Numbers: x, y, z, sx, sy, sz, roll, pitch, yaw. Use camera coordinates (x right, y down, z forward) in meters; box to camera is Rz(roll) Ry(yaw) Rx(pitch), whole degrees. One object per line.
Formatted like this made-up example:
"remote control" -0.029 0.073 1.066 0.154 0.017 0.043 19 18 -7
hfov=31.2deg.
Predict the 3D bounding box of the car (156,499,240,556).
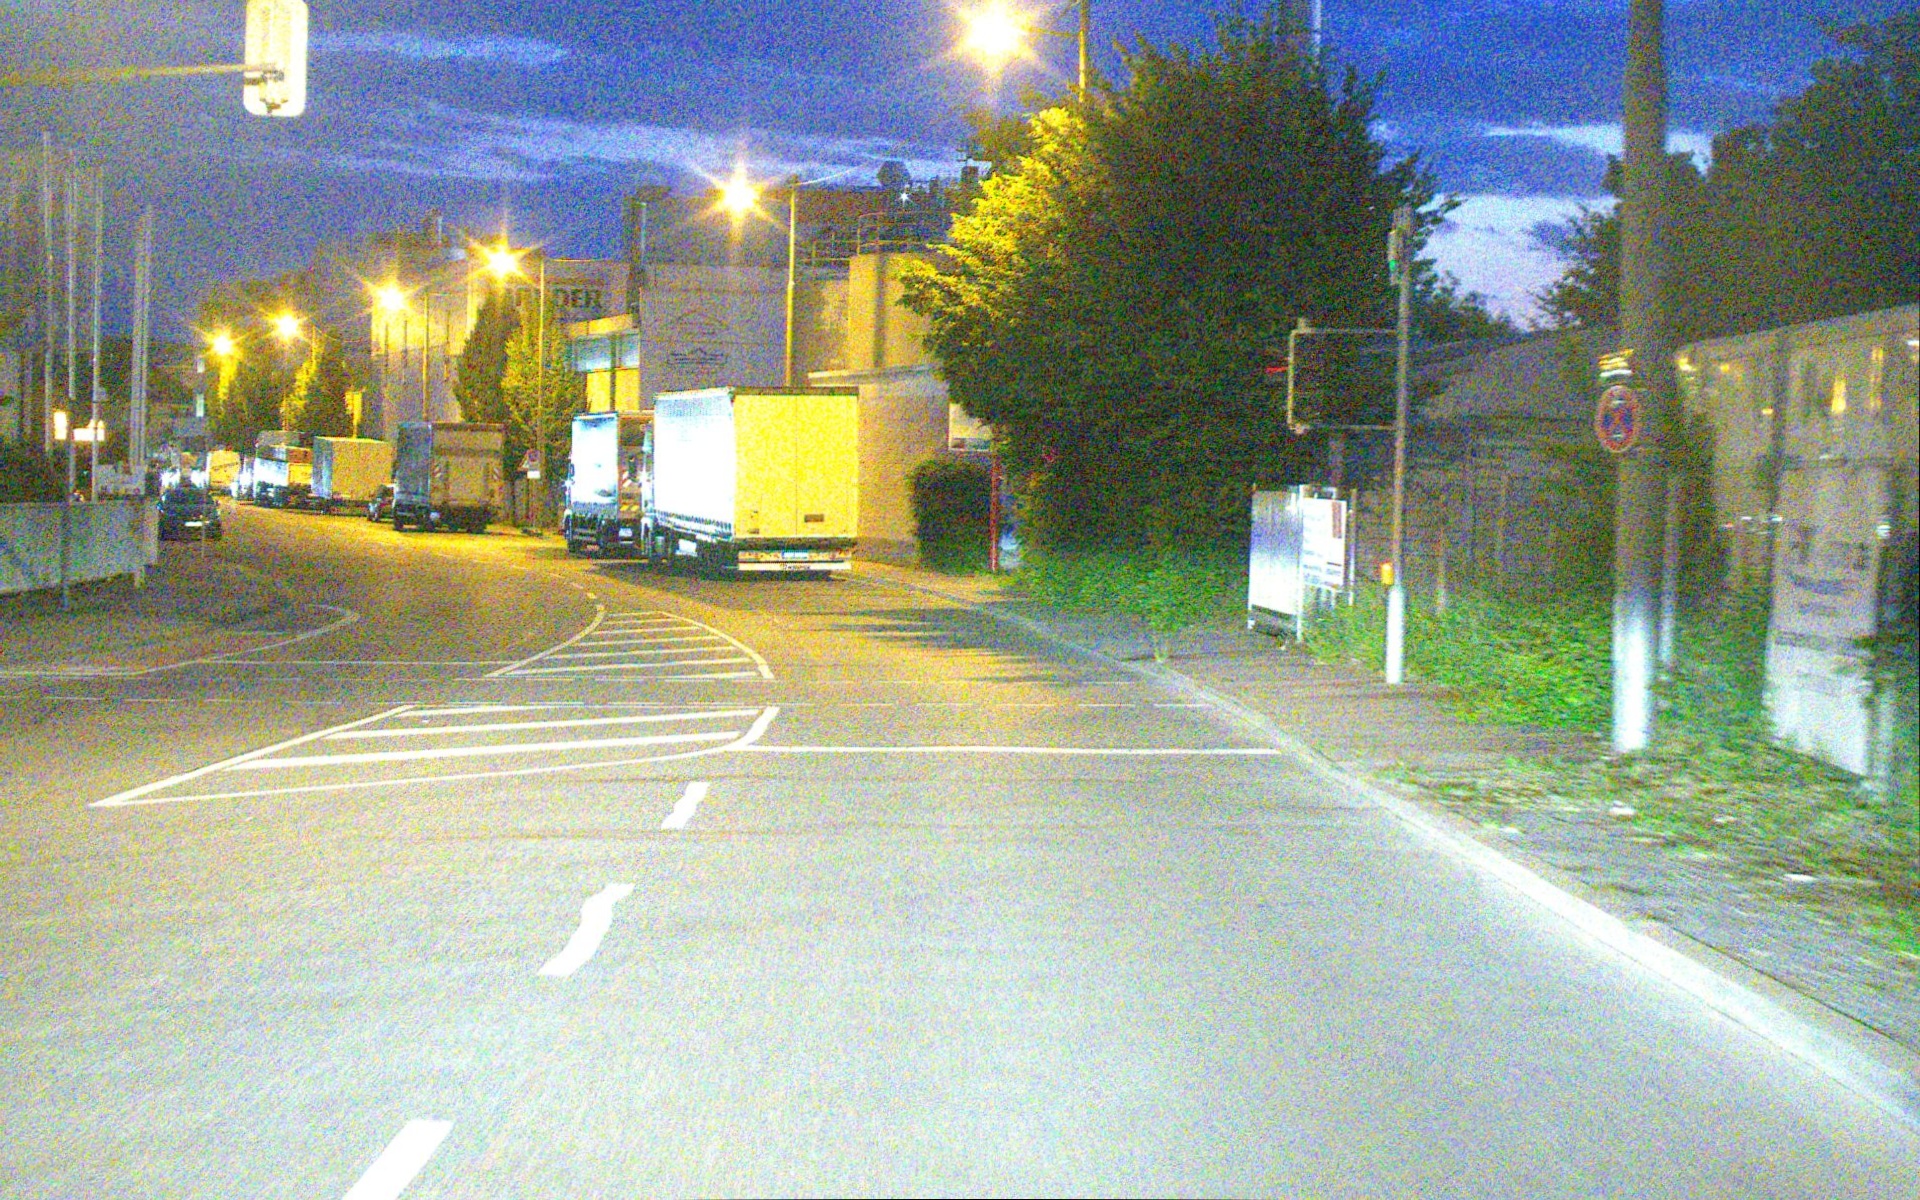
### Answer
"car" -23.287 -2.224 105.009 1.993 1.631 4.776 1 1 -18

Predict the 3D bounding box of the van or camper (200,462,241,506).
"van or camper" -44.617 -7.026 207.292 1.993 2.572 4.916 1 2 -16

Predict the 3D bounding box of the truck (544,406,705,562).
"truck" -9.192 -3.120 93.173 2.829 3.969 10.346 0 2 -14

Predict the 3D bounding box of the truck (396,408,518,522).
"truck" -18.414 -4.877 125.321 3.519 3.969 10.346 0 2 -13

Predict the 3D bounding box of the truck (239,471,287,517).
"truck" -37.854 -5.746 186.611 1.993 2.399 5.295 1 2 -17

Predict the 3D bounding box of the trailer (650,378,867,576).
"trailer" -4.671 -2.691 76.189 2.808 3.969 13.979 0 2 -12

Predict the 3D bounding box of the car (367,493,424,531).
"car" -23.016 -3.590 140.142 1.852 1.514 3.819 0 2 -16

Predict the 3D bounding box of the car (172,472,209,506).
"car" -50.761 -7.349 226.718 1.993 2.138 4.002 1 2 -17

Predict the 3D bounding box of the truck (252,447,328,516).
"truck" -34.139 -6.021 175.001 3.150 3.451 6.675 0 2 -17

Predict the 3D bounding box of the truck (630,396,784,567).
"truck" -6.181 -2.857 83.182 2.829 3.969 6.052 0 2 -13

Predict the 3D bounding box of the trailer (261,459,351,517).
"trailer" -32.044 -5.449 168.185 3.183 2.739 10.719 0 2 -17

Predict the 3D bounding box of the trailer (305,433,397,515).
"trailer" -27.082 -5.585 152.614 2.686 3.452 7.812 1 1 -19
